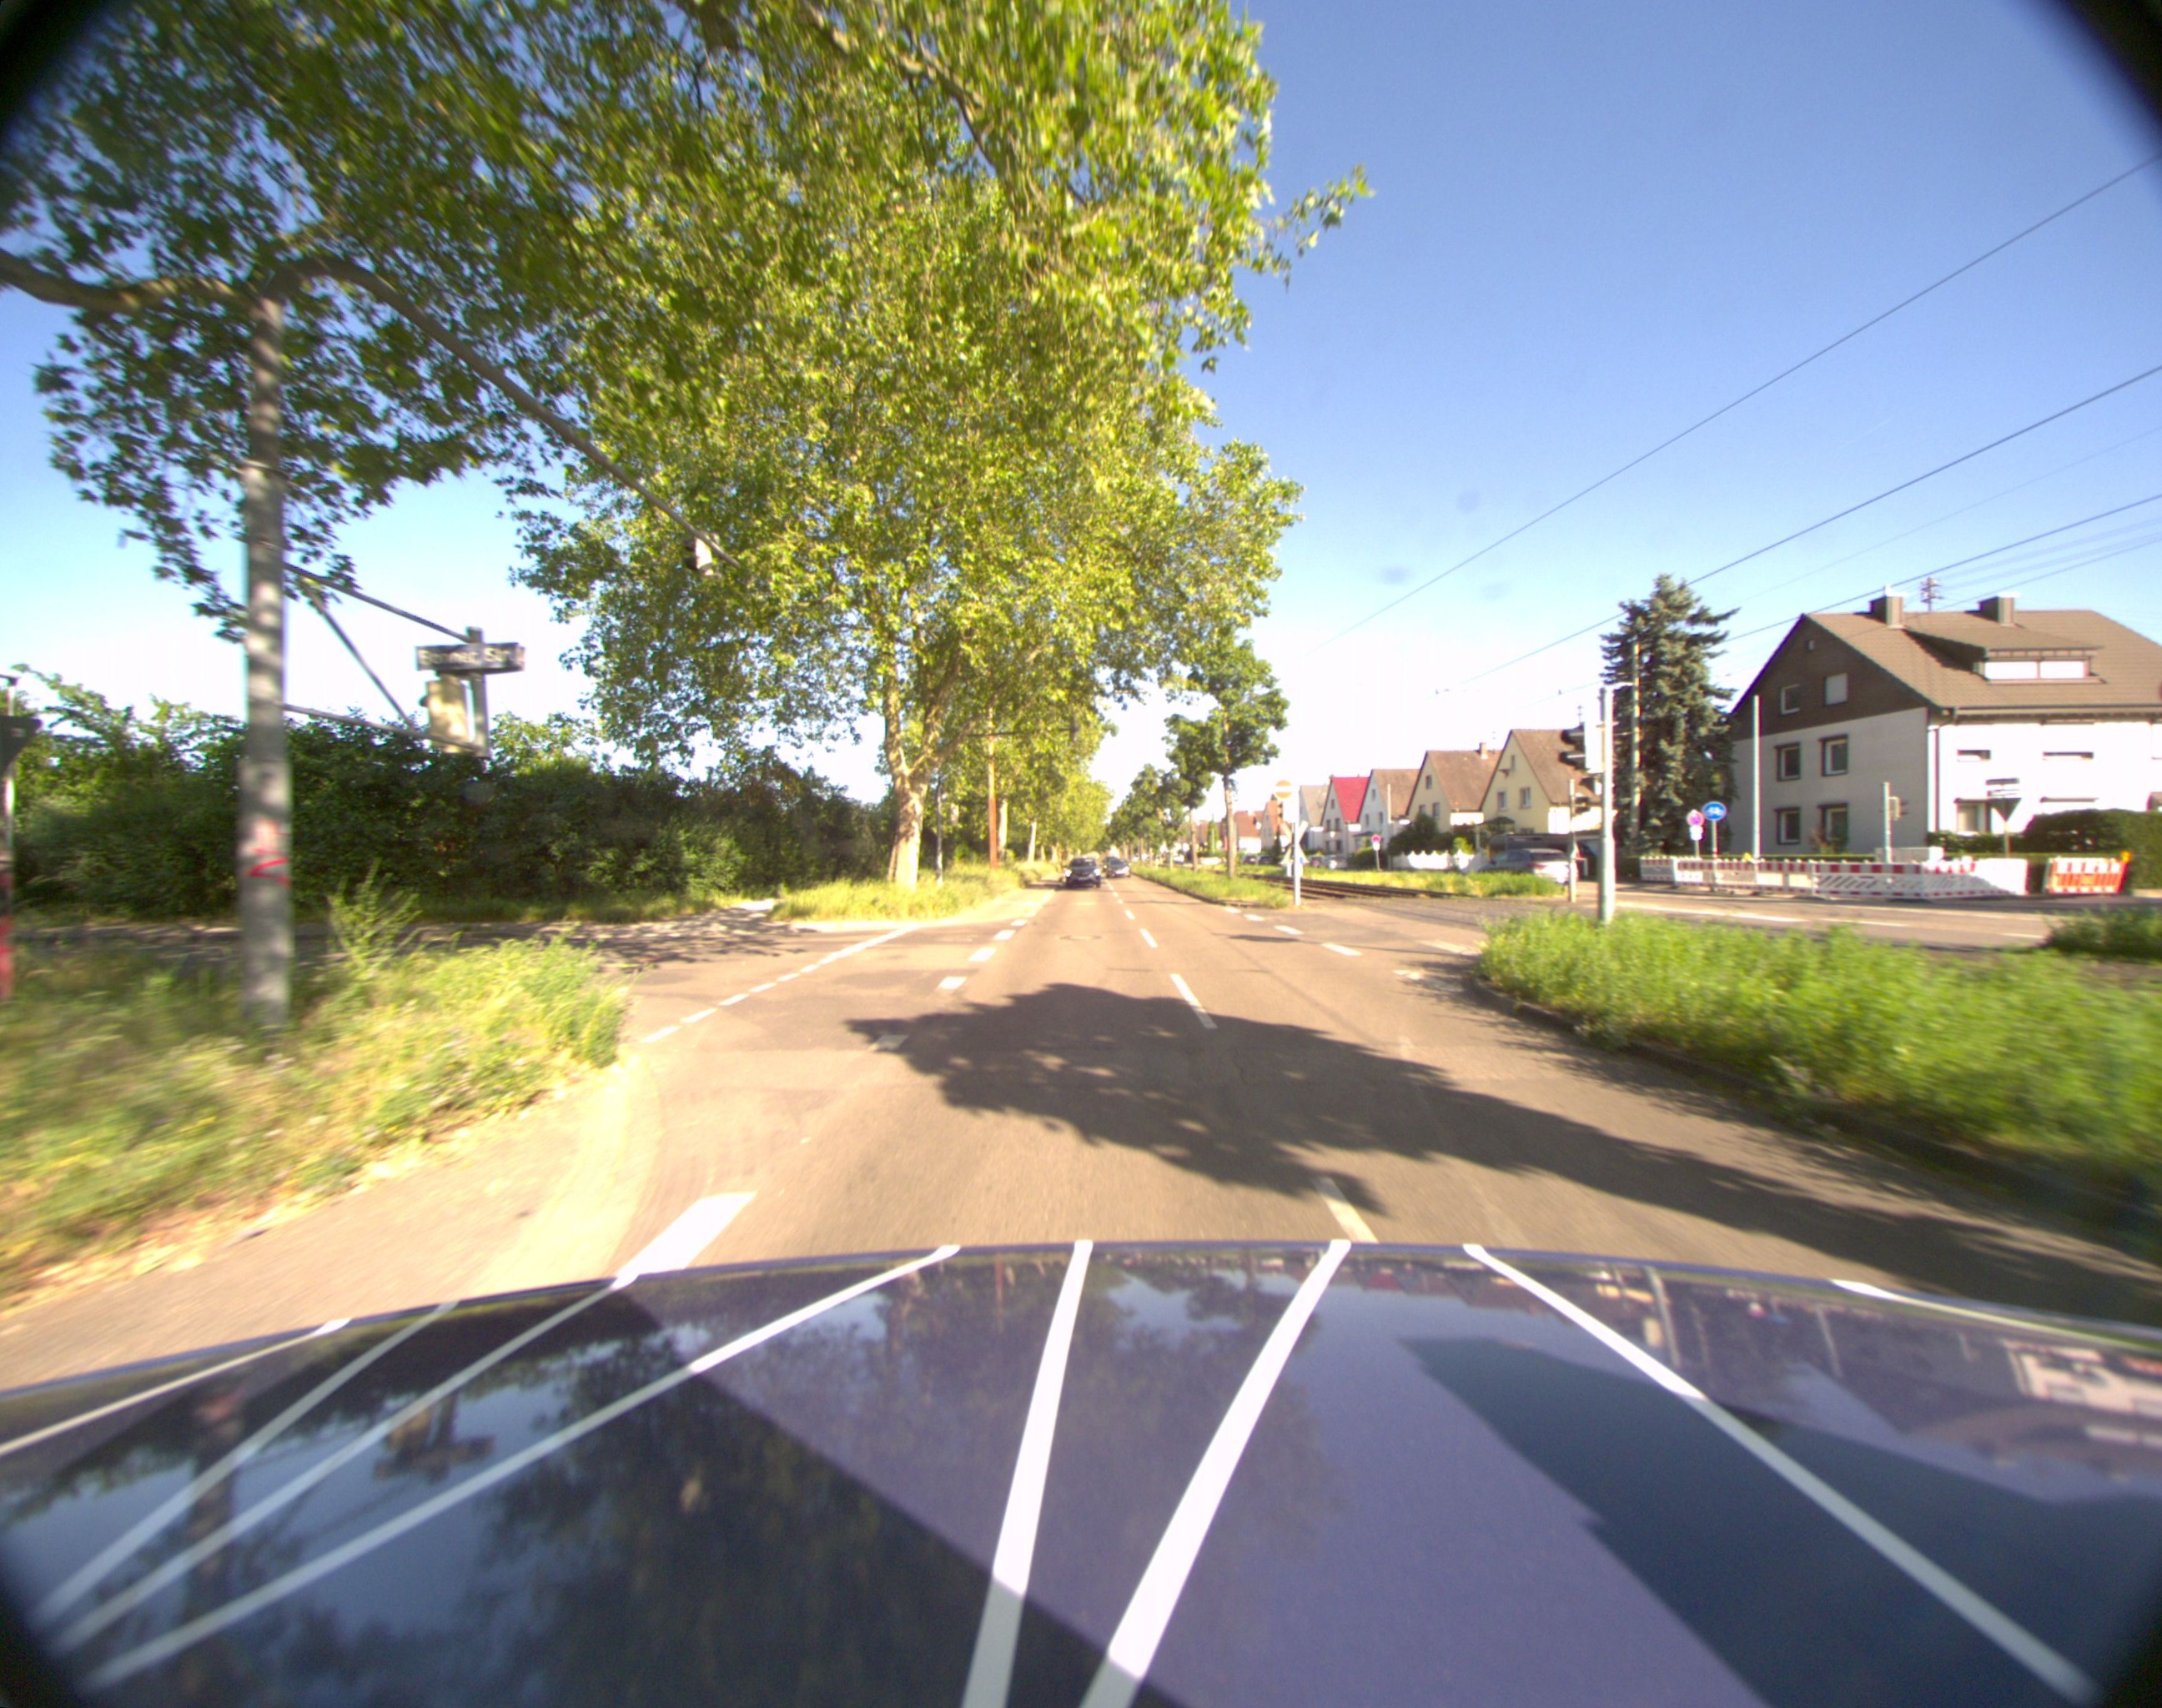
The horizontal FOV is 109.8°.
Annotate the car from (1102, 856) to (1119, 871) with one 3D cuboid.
[{"bbox_3d":[3.119,0.971,80.016,1.692,1.499,3.582,-2,0,1],"label":"car"}]

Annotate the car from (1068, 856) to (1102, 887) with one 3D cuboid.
[{"bbox_3d":[0.223,0.885,40.091,1.692,1.499,3.582,-1,0,1],"label":"car"}]

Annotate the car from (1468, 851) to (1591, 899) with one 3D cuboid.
[{"bbox_3d":[16.716,0.712,28.609,1.998,1.594,4.473,-2,0,0],"label":"car"}]

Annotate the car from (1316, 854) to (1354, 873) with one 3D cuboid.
[{"bbox_3d":[22.266,0.782,66.818,1.951,1.544,4.056,-2,0,1],"label":"car"}]

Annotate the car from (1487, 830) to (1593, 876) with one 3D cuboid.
[{"bbox_3d":[27.575,-0.037,45.742,5.041,2.609,2.103,-1,0,1],"label":"car"}]

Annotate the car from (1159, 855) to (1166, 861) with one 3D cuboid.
[{"bbox_3d":[24.881,1.218,231.767,1.738,1.481,3.756,-2,0,1],"label":"car"}]

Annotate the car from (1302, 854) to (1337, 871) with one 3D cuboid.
[{"bbox_3d":[22.383,0.761,71.485,1.998,1.441,4.127,-4,0,1],"label":"car"}]

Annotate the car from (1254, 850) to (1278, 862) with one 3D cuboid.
[{"bbox_3d":[22.920,0.243,94.365,1.931,1.486,4.256,-2,0,1],"label":"car"}]

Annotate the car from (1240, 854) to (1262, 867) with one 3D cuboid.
[{"bbox_3d":[23.065,0.853,103.144,1.998,1.703,4.390,-2,0,1],"label":"car"}]

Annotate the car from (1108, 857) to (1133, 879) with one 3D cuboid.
[{"bbox_3d":[2.928,1.050,56.897,1.692,1.499,3.582,-2,0,1],"label":"car"}]

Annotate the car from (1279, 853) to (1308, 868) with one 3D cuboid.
[{"bbox_3d":[22.484,0.664,80.693,1.998,1.418,4.411,-2,0,3],"label":"car"}]

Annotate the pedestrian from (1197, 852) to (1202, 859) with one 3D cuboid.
[{"bbox_3d":[23.334,0.307,150.111,0.813,1.525,0.794,-1,-1,0],"label":"pedestrian"}]
